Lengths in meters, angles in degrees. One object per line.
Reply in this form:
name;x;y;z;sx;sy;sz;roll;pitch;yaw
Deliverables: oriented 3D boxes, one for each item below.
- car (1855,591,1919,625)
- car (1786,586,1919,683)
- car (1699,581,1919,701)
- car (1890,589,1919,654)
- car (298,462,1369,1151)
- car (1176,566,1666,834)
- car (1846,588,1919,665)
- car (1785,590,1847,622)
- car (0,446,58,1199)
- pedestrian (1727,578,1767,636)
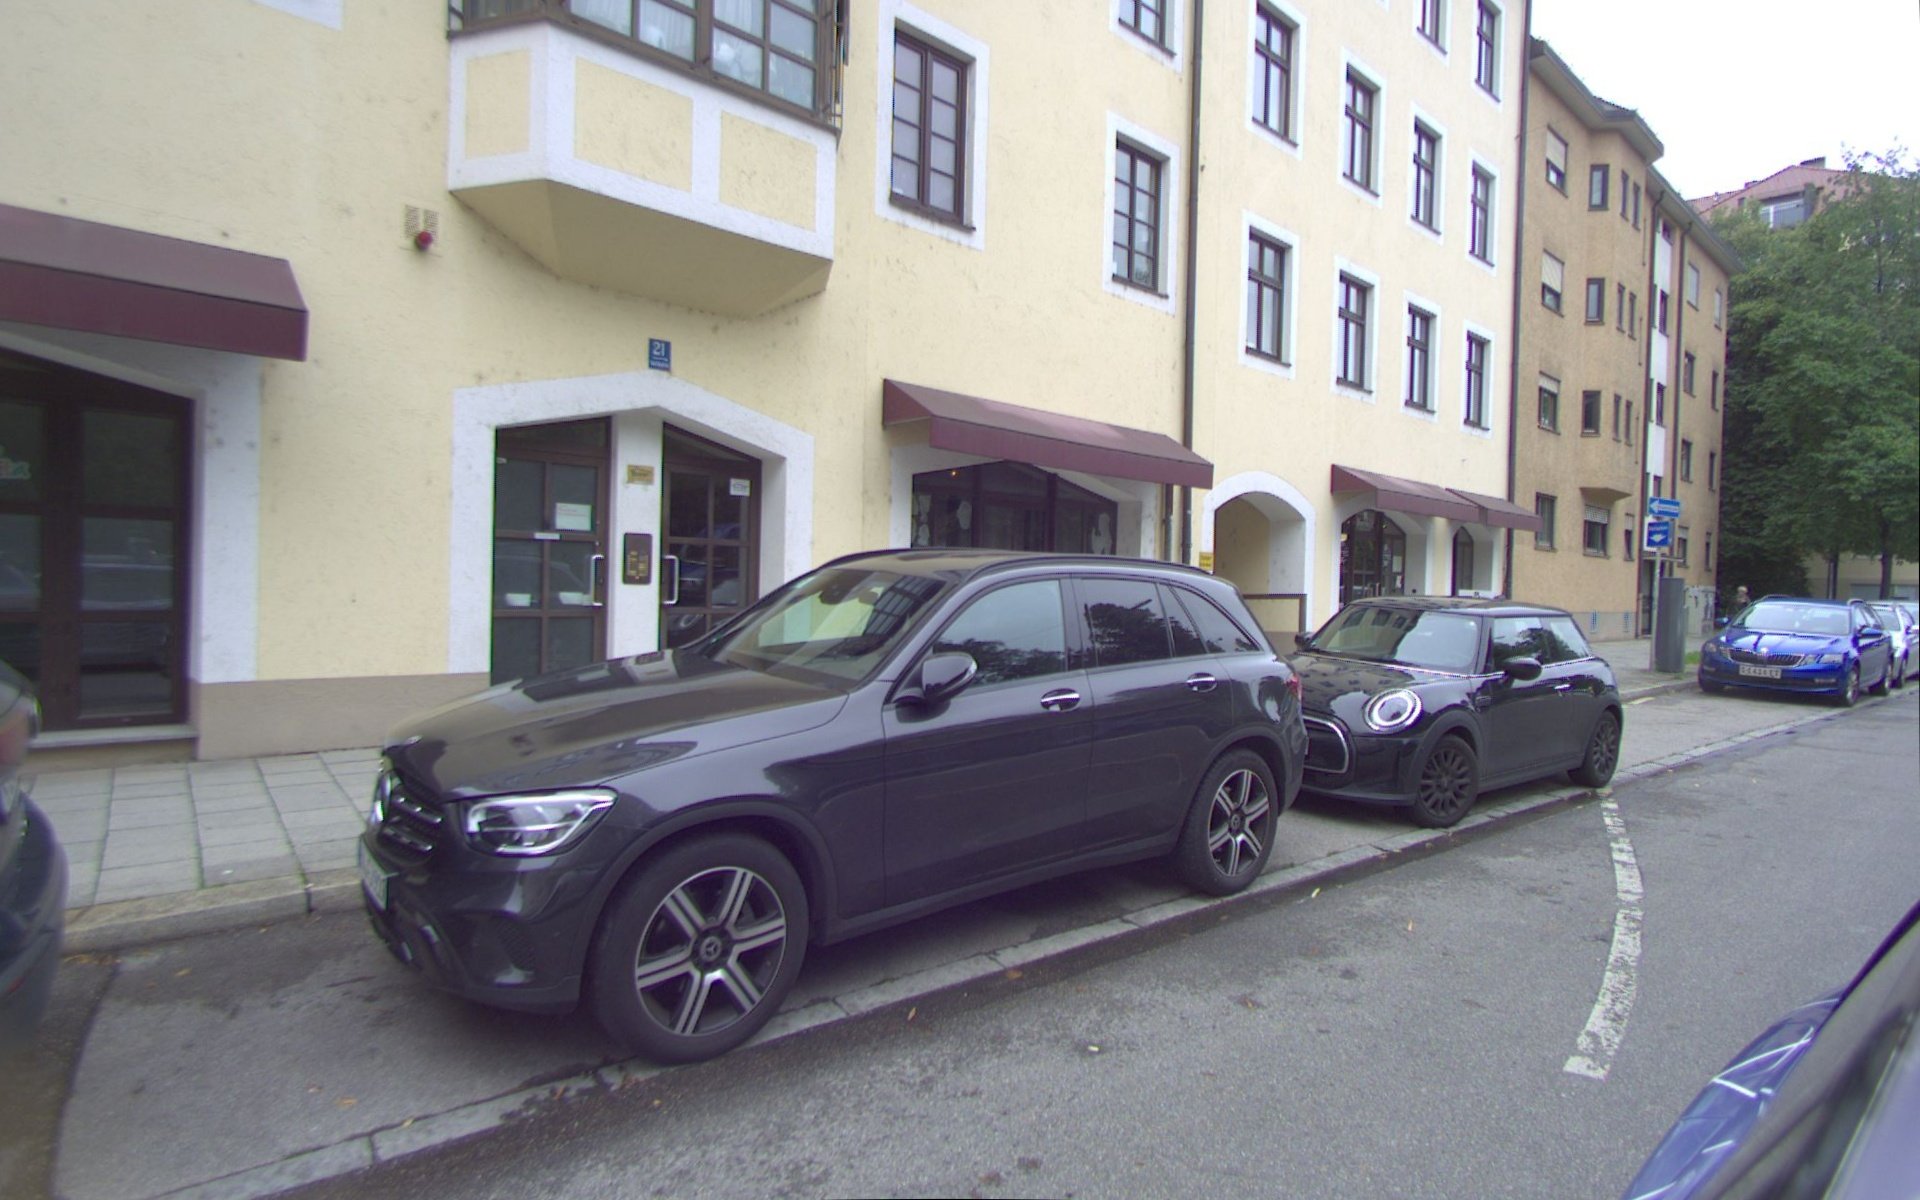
car;44.859;0.358;48.918;4.174;1.485;2.050;0;2;-44
car;16.792;0.553;18.553;4.355;1.514;1.695;0;3;-40
car;13.034;0.534;15.417;4.406;1.514;1.761;0;3;-39
car;24.308;0.537;24.825;3.752;1.514;1.632;0;3;-39
car;-0.176;0.467;4.639;4.622;1.700;1.761;0;3;-40
car;3.607;0.567;7.710;3.751;1.514;1.762;0;3;-37
car;20.729;0.549;21.945;3.718;1.514;1.632;0;3;-39
car;42.961;0.276;50.764;4.174;1.485;1.914;0;2;-44
car;-4.062;0.505;1.204;4.433;1.700;1.822;0;3;-42
pedestrian;22.971;0.191;29.532;0.962;1.644;0.672;-1;2;-38
